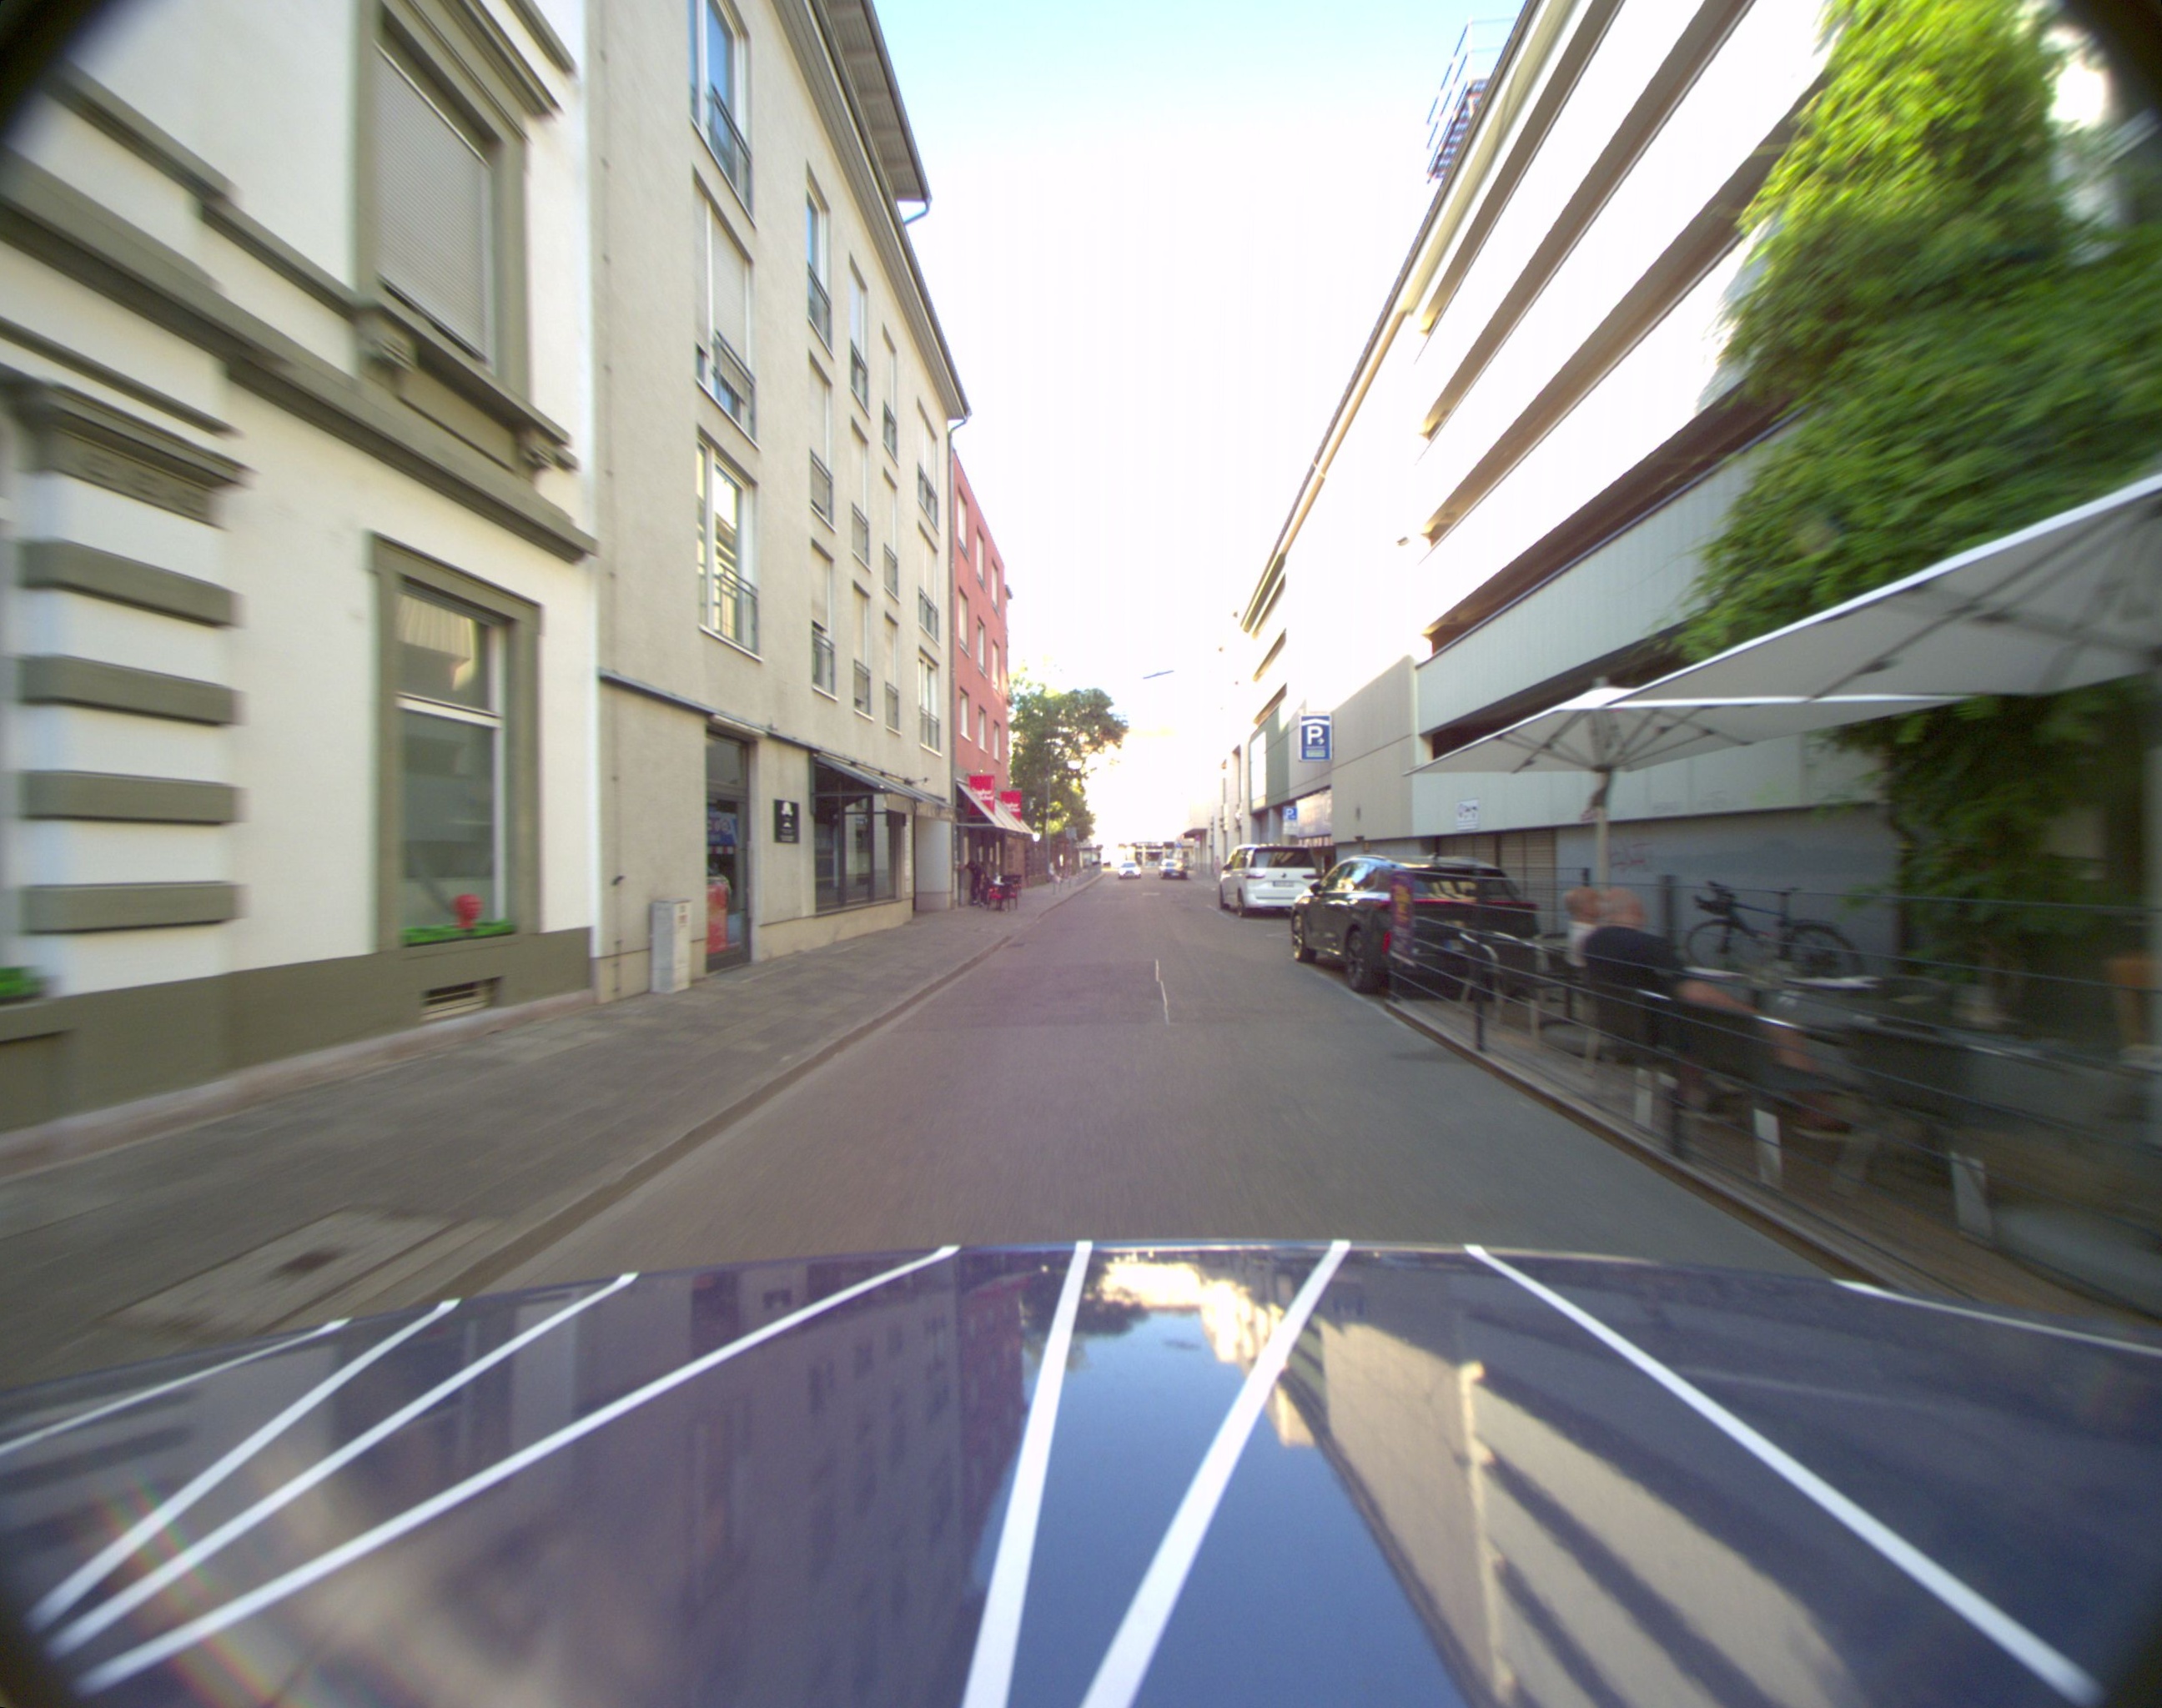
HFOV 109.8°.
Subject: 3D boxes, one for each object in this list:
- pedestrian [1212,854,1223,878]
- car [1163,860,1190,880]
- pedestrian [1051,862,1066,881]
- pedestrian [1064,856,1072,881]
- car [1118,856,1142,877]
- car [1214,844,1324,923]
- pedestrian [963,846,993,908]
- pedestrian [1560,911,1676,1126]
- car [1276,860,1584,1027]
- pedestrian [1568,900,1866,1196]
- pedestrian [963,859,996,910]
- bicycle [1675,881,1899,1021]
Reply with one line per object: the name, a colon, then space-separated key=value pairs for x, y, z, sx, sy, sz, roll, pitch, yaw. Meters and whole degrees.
pedestrian: x=9.550 y=0.845 z=53.131 sx=0.620 sy=1.616 sz=0.565 roll=-2 pitch=0 yaw=4
car: x=7.390 y=1.224 z=59.179 sx=1.997 sy=1.409 sz=4.560 roll=1 pitch=1 yaw=7
pedestrian: x=-1.450 y=1.126 z=49.461 sx=0.928 sy=1.242 sz=0.362 roll=1 pitch=0 yaw=1
pedestrian: x=-0.838 y=0.929 z=49.495 sx=0.437 sy=1.637 sz=0.558 roll=1 pitch=0 yaw=11
car: x=3.946 y=0.978 z=60.984 sx=1.788 sy=1.515 sz=4.001 roll=-3 pitch=0 yaw=4
car: x=5.079 y=0.741 z=21.249 sx=1.998 sy=1.928 sz=4.851 roll=1 pitch=0 yaw=2
pedestrian: x=-3.040 y=0.658 z=22.384 sx=0.660 sy=1.782 sz=0.729 roll=2 pitch=1 yaw=-19
pedestrian: x=3.365 y=0.967 z=4.771 sx=0.552 sy=1.159 sz=0.743 roll=0 pitch=0 yaw=36
car: x=4.034 y=0.895 z=9.860 sx=1.885 sy=1.559 sz=4.771 roll=1 pitch=0 yaw=2
pedestrian: x=3.165 y=0.906 z=3.896 sx=0.782 sy=1.279 sz=0.916 roll=-1 pitch=0 yaw=4
pedestrian: x=-2.992 y=0.888 z=22.451 sx=0.827 sy=1.477 sz=0.661 roll=0 pitch=0 yaw=3
bicycle: x=6.865 y=0.886 z=7.533 sx=0.644 sy=1.153 sz=1.795 roll=-2 pitch=0 yaw=5
